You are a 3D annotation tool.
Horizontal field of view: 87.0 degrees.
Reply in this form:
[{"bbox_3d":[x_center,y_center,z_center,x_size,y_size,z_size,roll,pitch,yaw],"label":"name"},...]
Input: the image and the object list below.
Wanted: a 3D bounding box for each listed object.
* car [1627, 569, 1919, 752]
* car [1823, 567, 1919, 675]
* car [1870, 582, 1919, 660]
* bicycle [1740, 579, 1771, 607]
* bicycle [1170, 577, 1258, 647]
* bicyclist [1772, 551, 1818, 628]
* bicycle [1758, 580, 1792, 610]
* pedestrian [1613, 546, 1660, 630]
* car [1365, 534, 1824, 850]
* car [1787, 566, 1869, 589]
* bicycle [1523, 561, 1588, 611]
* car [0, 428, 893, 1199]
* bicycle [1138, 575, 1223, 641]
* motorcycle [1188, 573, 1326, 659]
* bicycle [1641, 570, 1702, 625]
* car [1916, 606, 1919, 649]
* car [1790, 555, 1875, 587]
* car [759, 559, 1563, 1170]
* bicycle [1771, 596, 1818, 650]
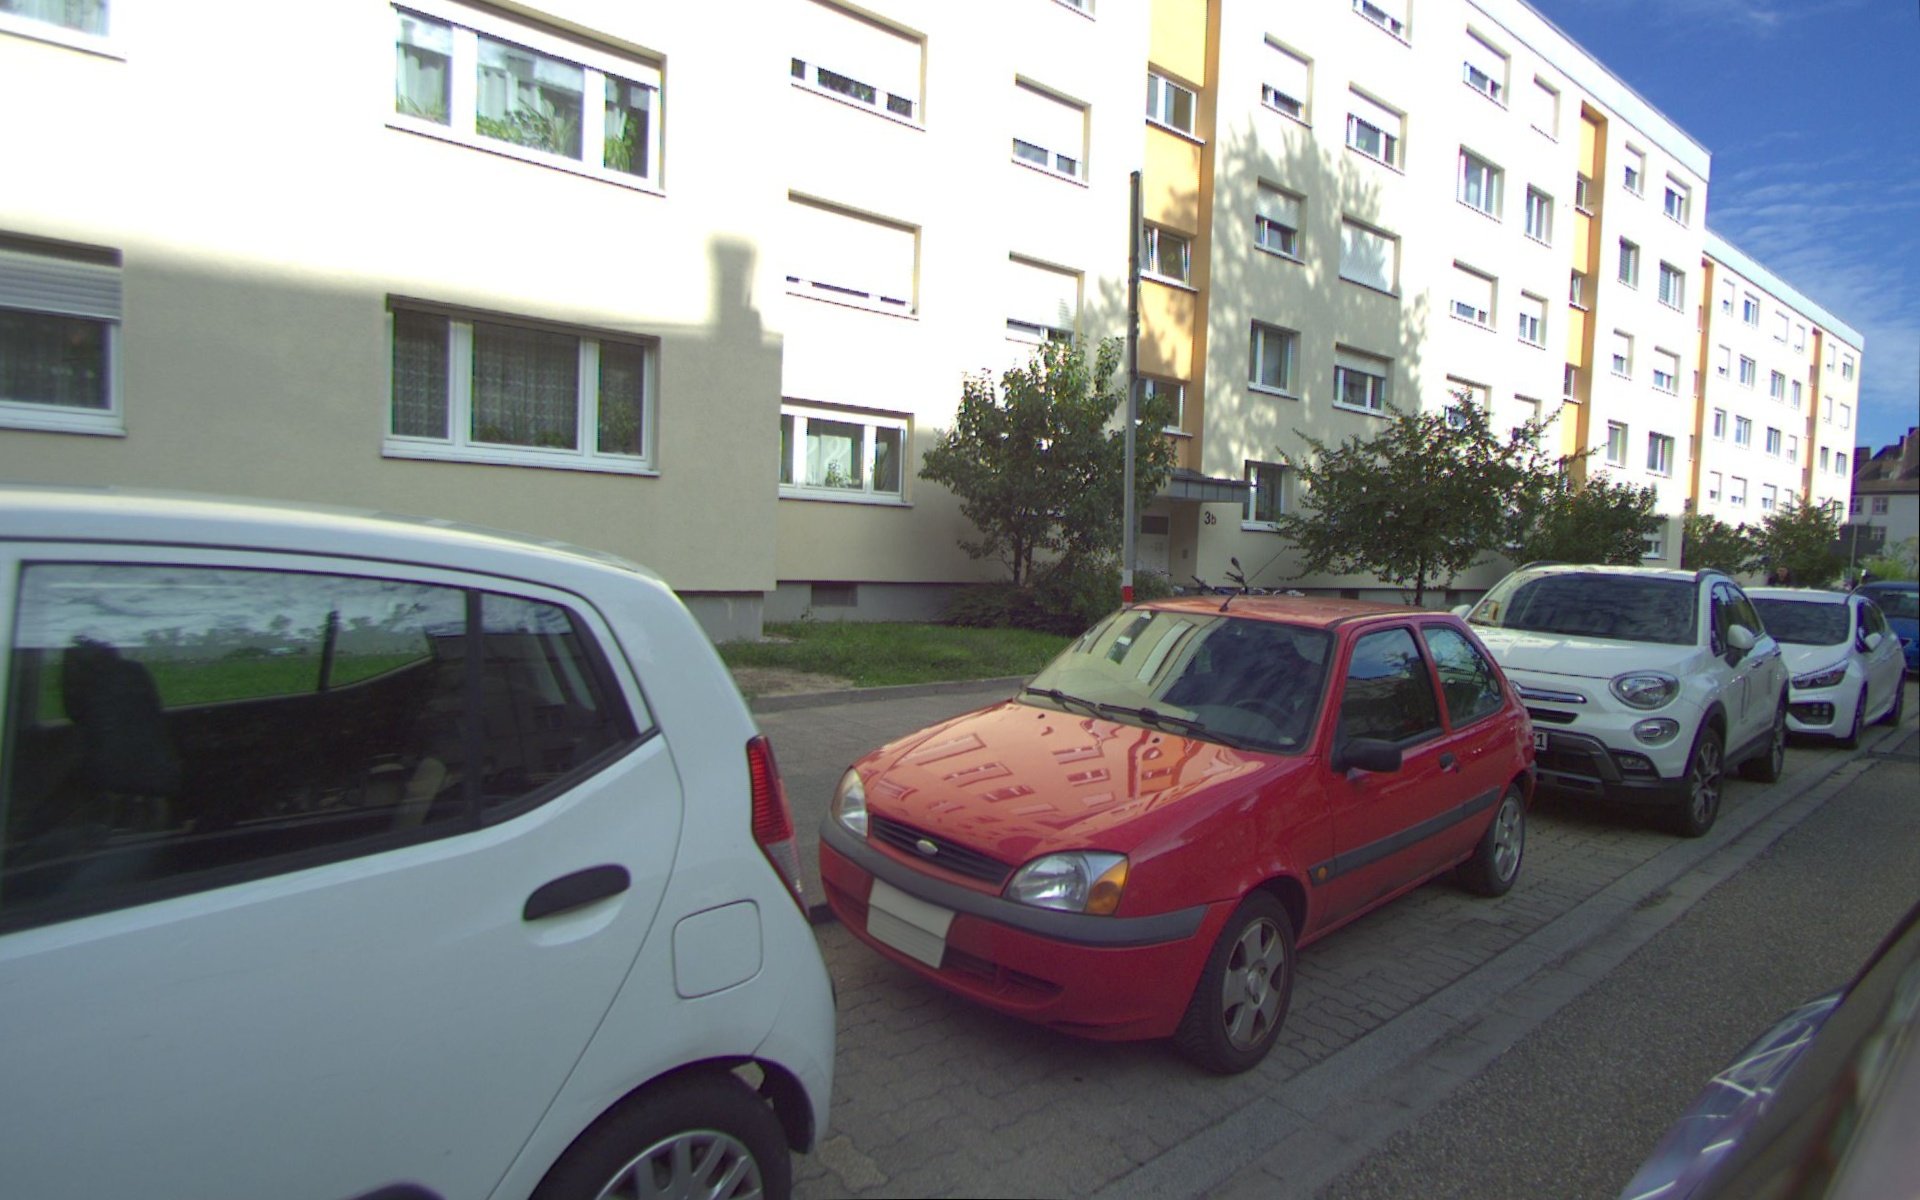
[{"bbox_3d":[8.995,0.480,10.889,4.559,1.505,1.733,-1,5,-40],"label":"car"},{"bbox_3d":[16.913,0.329,17.877,4.042,1.669,1.734,-1,5,-39],"label":"car"},{"bbox_3d":[20.367,0.426,20.975,4.046,1.478,1.732,-1,5,-42],"label":"car"},{"bbox_3d":[30.960,-0.280,39.367,2.059,1.042,0.503,-1,6,-42],"label":"bicycle"},{"bbox_3d":[3.714,0.162,14.750,1.491,0.952,0.459,-1,4,-42],"label":"bicycle"},{"bbox_3d":[19.040,-0.253,23.071,0.877,1.698,0.624,0,3,-42],"label":"bicyclist"},{"bbox_3d":[31.418,-0.204,38.983,2.082,1.042,0.595,-1,6,-42],"label":"bicycle"},{"bbox_3d":[14.367,-0.269,21.492,0.757,1.743,0.544,0,2,-36],"label":"pedestrian"},{"bbox_3d":[4.712,0.411,7.267,4.048,1.599,1.731,-1,5,-43],"label":"car"},{"bbox_3d":[62.881,-1.619,73.380,1.833,1.500,4.096,0,3,-31],"label":"car"},{"bbox_3d":[16.374,-0.389,27.806,2.589,1.307,0.728,-1,2,-41],"label":"bicycle"},{"bbox_3d":[-1.931,0.540,1.402,3.409,1.575,1.554,-1,5,-43],"label":"car"},{"bbox_3d":[3.406,0.107,15.591,1.491,0.938,0.459,-1,4,-42],"label":"bicycle"},{"bbox_3d":[4.105,0.192,13.879,2.353,1.057,0.632,-1,5,-42],"label":"motorcycle"},{"bbox_3d":[18.189,-0.082,25.836,2.589,1.306,0.605,-1,4,-41],"label":"bicycle"},{"bbox_3d":[24.466,0.404,24.450,4.122,1.533,1.731,-1,5,-44],"label":"car"},{"bbox_3d":[64.921,-2.201,75.386,2.321,2.218,4.285,0,3,-34],"label":"car"},{"bbox_3d":[1.123,0.590,4.246,1.517,1.414,3.617,6,5,45],"label":"car"},{"bbox_3d":[19.119,0.497,23.174,1.896,1.149,0.524,-1,3,-42],"label":"bicycle"}]
